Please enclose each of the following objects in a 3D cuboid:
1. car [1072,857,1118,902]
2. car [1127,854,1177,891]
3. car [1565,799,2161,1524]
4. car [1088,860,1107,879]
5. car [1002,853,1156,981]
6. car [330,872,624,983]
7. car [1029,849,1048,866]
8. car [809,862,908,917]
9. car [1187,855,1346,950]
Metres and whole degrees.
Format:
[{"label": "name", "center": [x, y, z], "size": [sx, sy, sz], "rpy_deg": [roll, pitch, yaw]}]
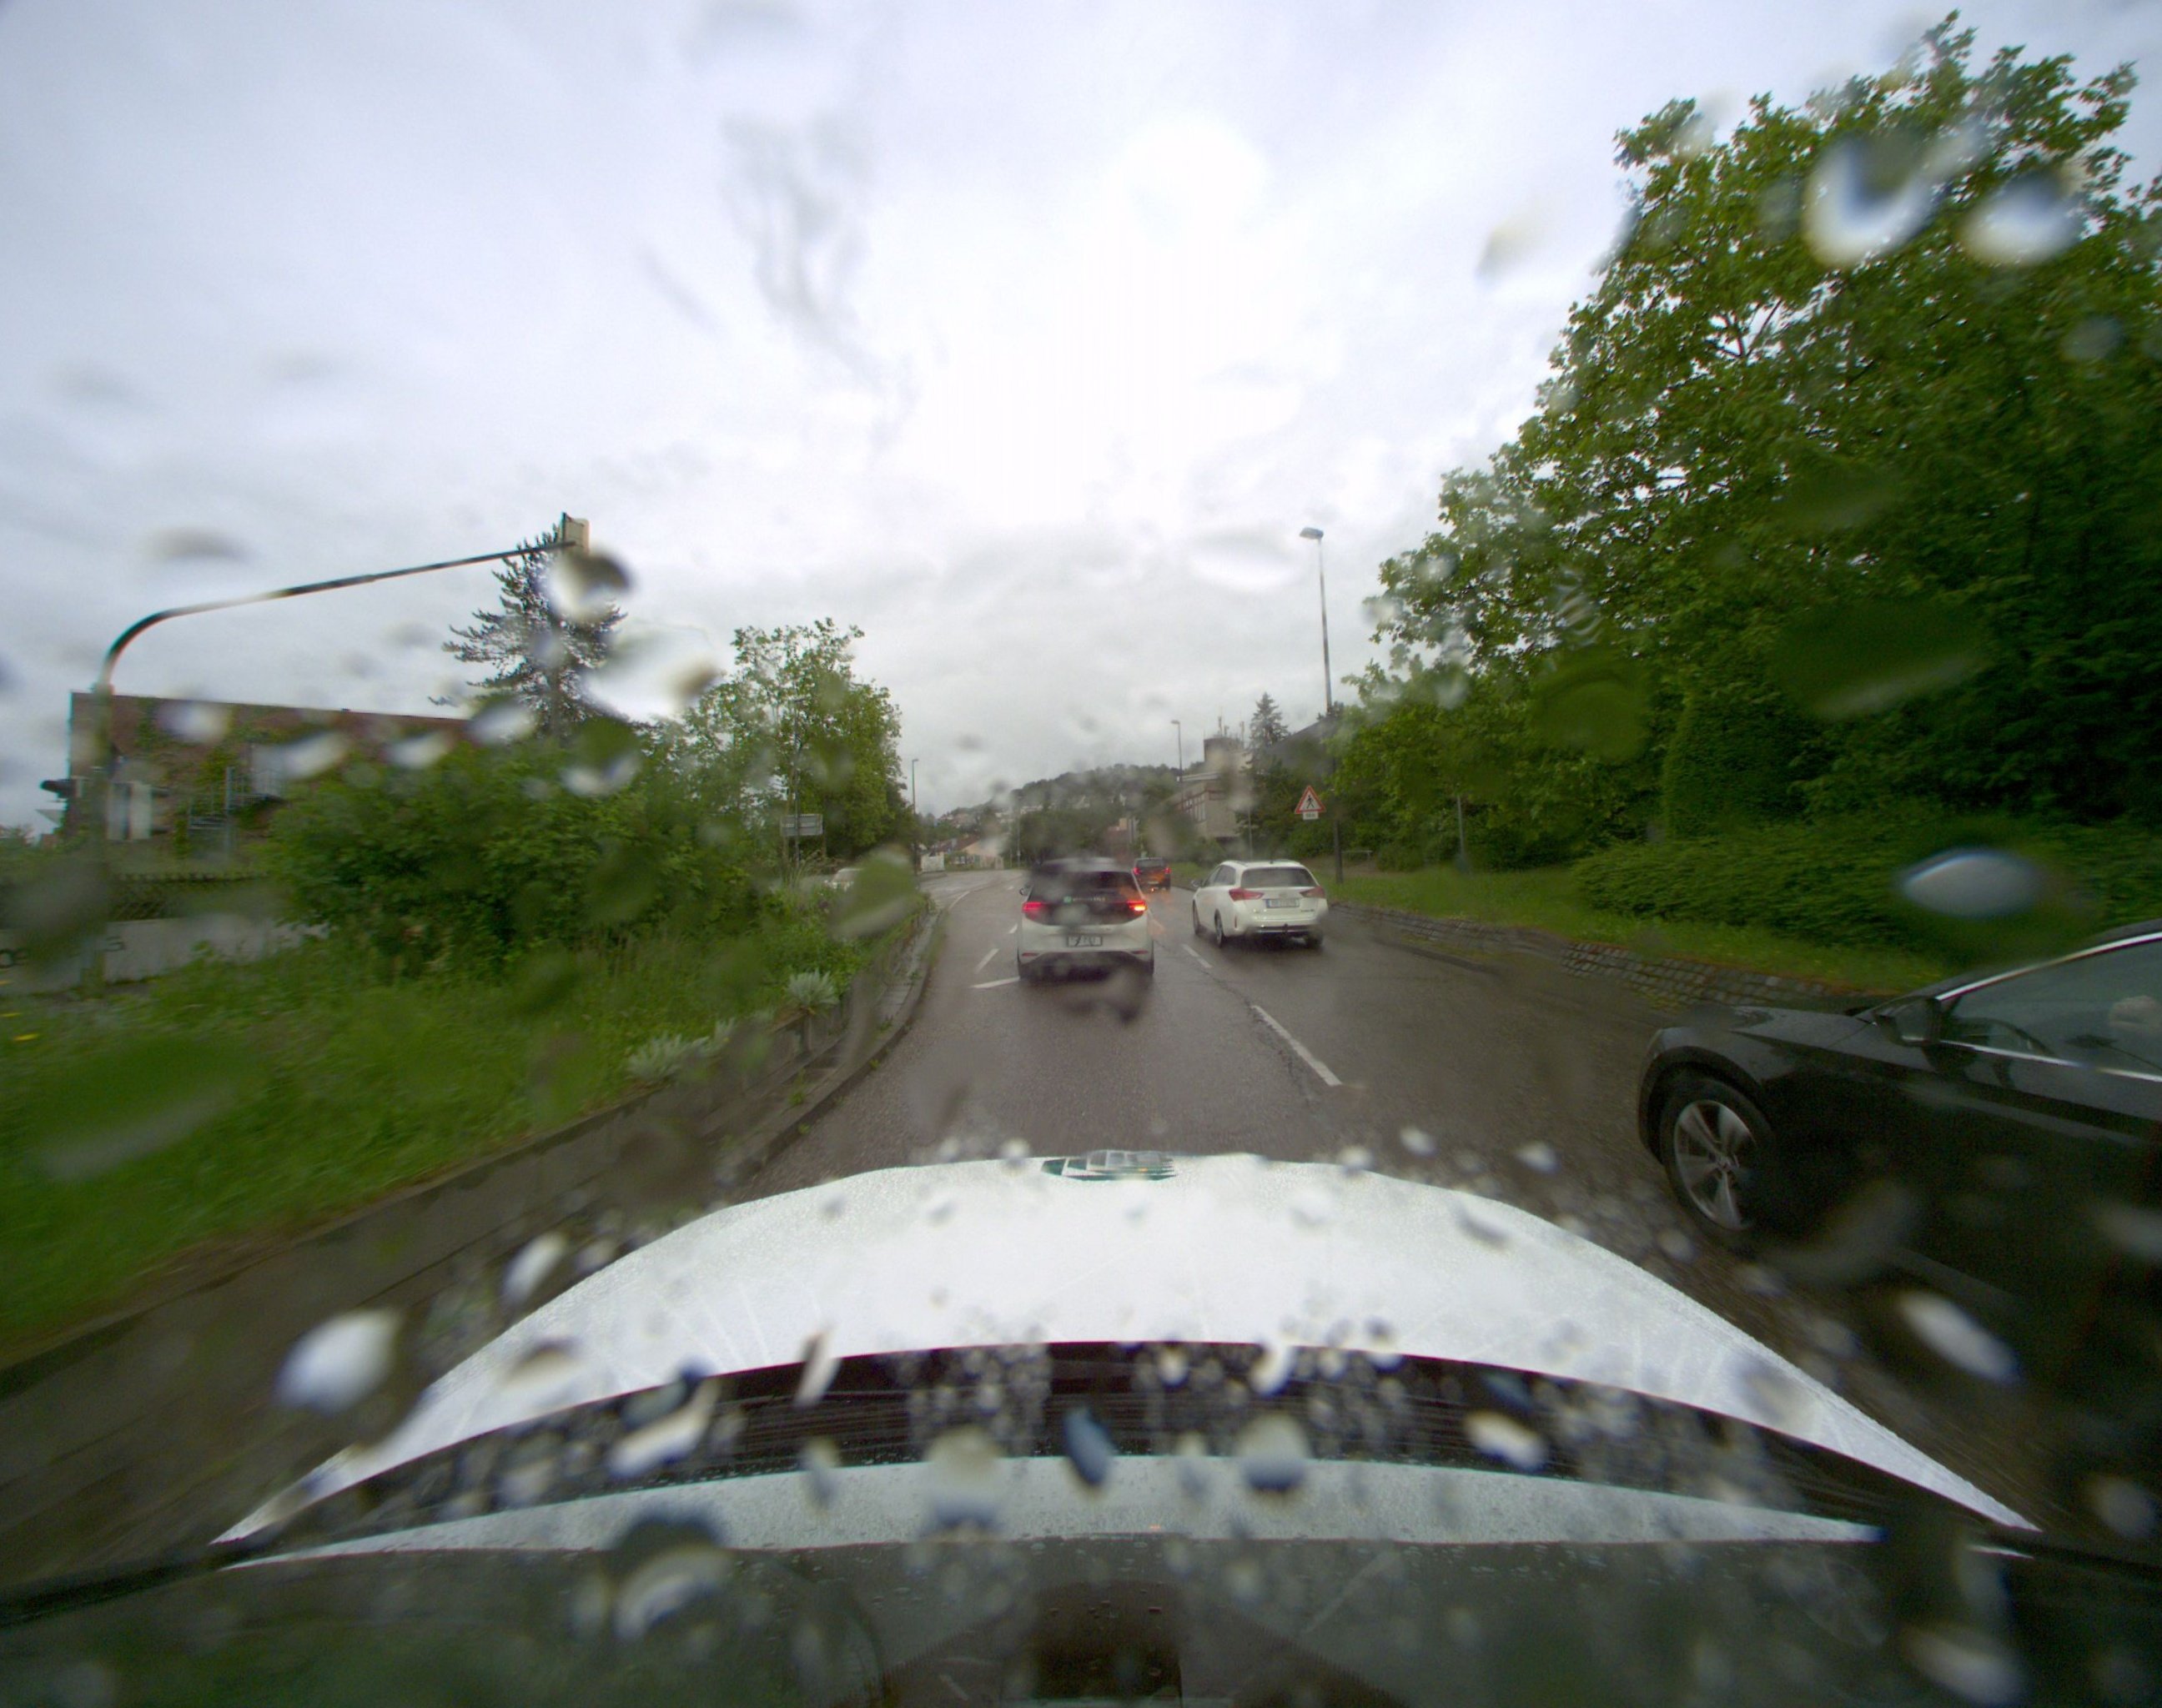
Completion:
[{"label": "car", "center": [0.489, 0.895, 30.335], "size": [1.562, 1.530, 3.999], "rpy_deg": [-2, 0, 0]}, {"label": "car", "center": [3.134, 0.831, 36.485], "size": [1.986, 1.453, 3.773], "rpy_deg": [-4, -1, 2]}, {"label": "car", "center": [3.227, 0.646, 1.535], "size": [1.947, 1.507, 4.608], "rpy_deg": [1, -1, 1]}, {"label": "car", "center": [1.894, 1.762, 91.422], "size": [1.986, 2.014, 4.002], "rpy_deg": [-1, -1, 2]}, {"label": "car", "center": [0.059, 0.799, 11.885], "size": [1.821, 1.500, 4.170], "rpy_deg": [-1, -1, 2]}, {"label": "car", "center": [-11.018, 1.233, 15.418], "size": [1.986, 1.662, 4.599], "rpy_deg": [-3, -1, 2]}, {"label": "car", "center": [-5.163, 0.464, 98.745], "size": [1.987, 2.014, 3.999], "rpy_deg": [-1, -1, 0]}, {"label": "car", "center": [-7.596, 1.147, 28.305], "size": [1.986, 1.662, 4.599], "rpy_deg": [-3, -1, 2]}, {"label": "car", "center": [3.135, 0.790, 14.678], "size": [1.842, 1.410, 4.300], "rpy_deg": [-1, -1, -1]}]
